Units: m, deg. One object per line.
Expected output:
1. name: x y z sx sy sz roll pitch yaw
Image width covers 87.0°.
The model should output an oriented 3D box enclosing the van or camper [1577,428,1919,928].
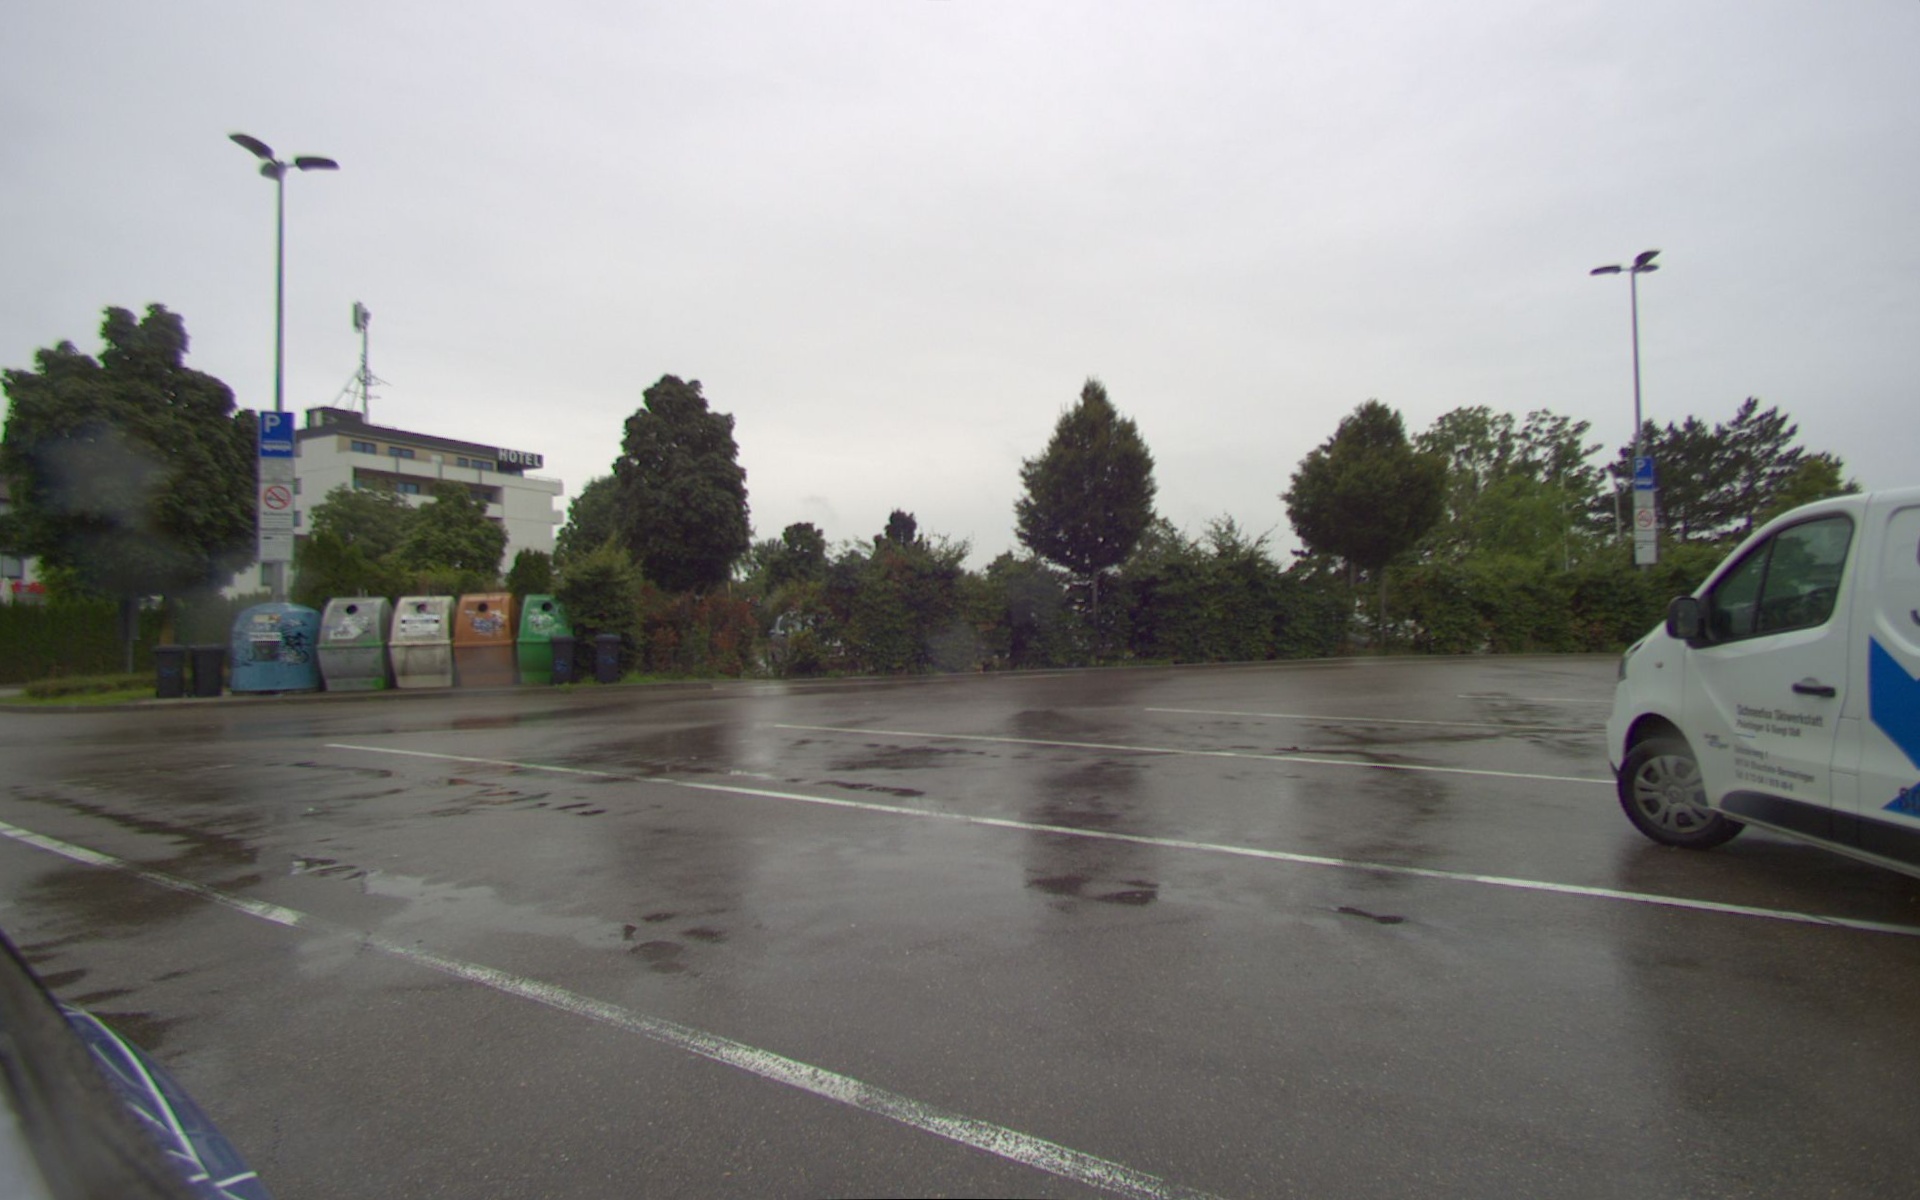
1. van or camper: 4.824 0.281 3.808 2.167 1.959 5.189 -2 1 5

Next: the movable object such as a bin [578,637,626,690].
1. movable object such as a bin: -6.531 1.143 18.453 0.552 0.927 0.626 -1 -1 19

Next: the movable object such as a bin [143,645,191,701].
1. movable object such as a bin: -13.774 1.269 17.592 0.483 0.946 0.449 -1 -1 8

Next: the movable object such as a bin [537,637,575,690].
1. movable object such as a bin: -7.380 1.154 18.492 0.413 0.927 0.492 -1 -1 19

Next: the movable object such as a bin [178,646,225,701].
1. movable object such as a bin: -13.231 1.273 17.668 0.483 0.924 0.449 -1 -1 8
